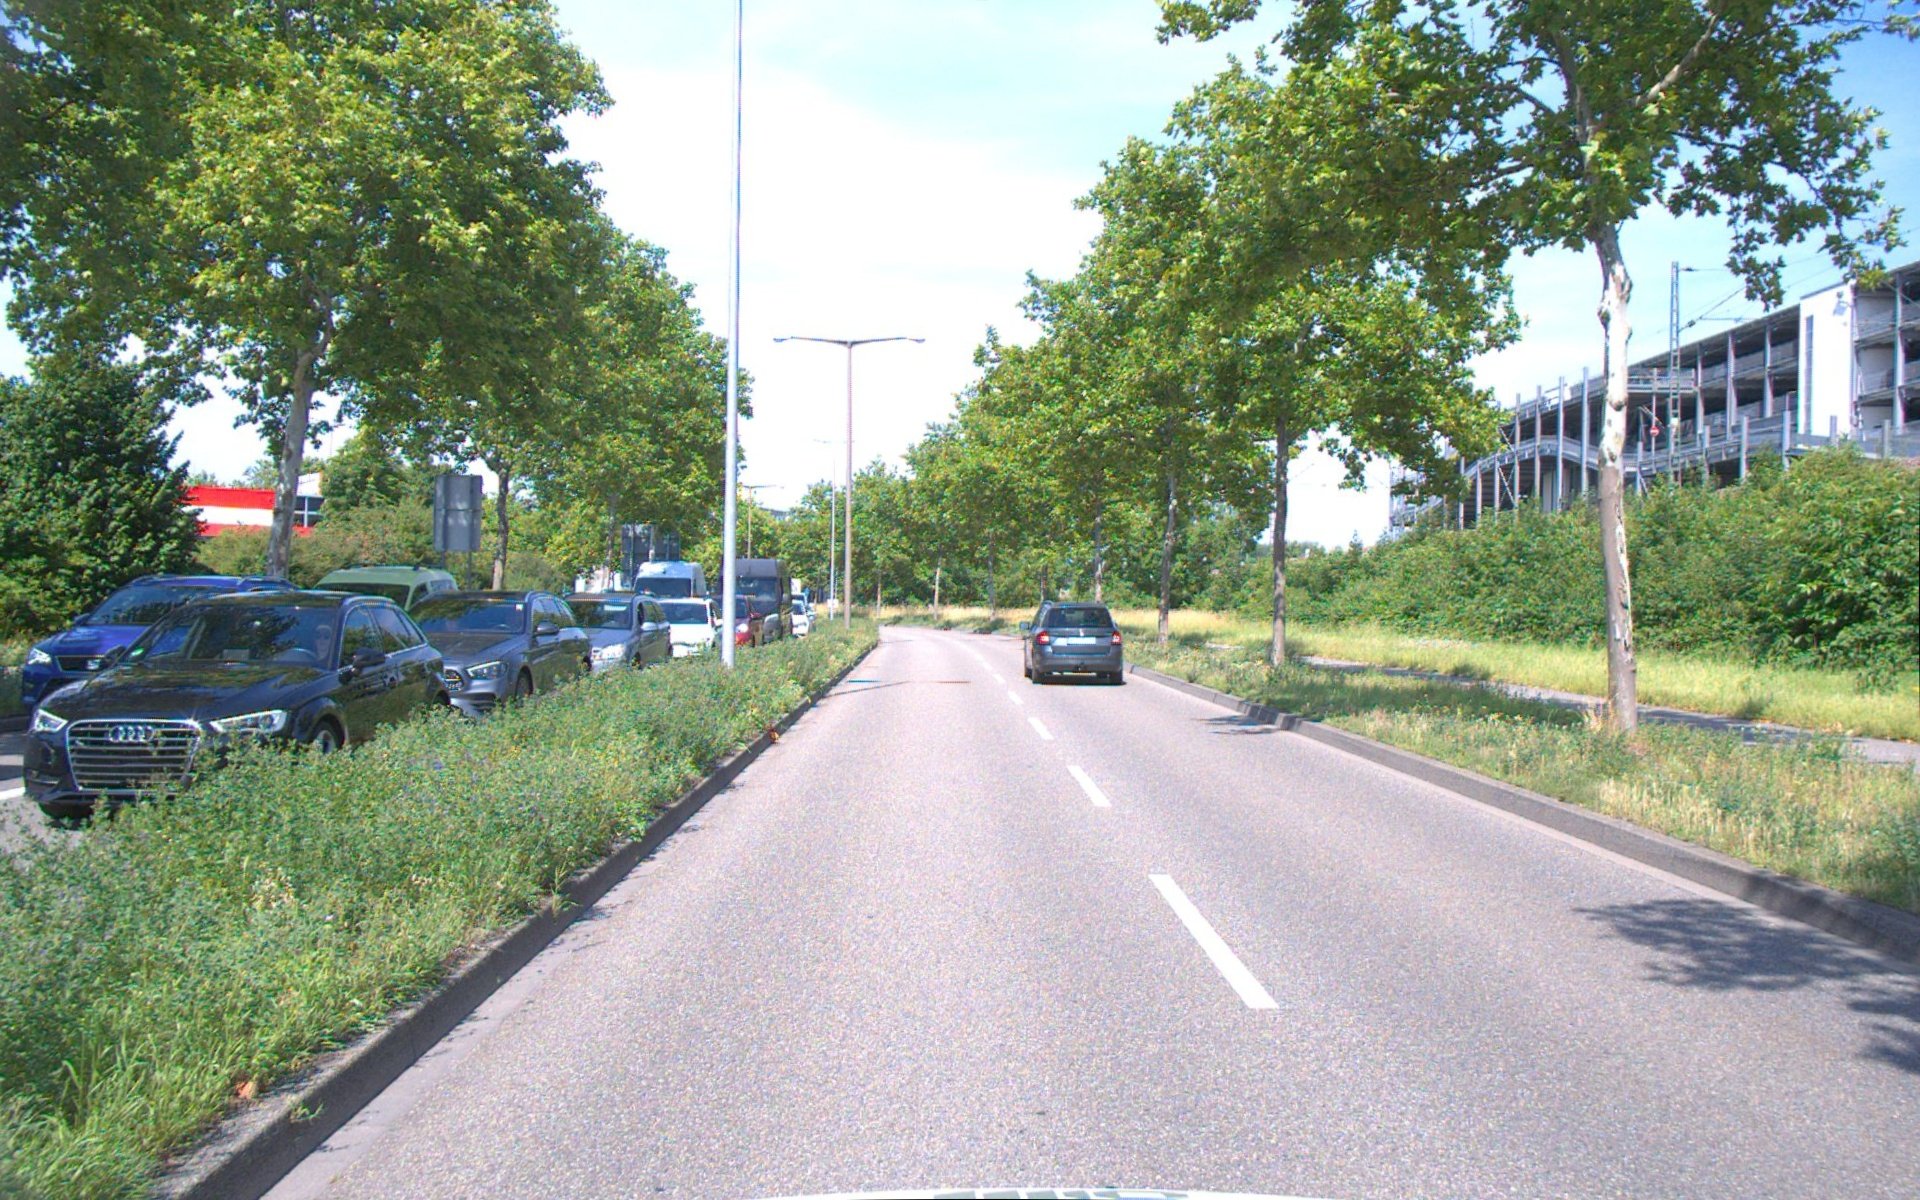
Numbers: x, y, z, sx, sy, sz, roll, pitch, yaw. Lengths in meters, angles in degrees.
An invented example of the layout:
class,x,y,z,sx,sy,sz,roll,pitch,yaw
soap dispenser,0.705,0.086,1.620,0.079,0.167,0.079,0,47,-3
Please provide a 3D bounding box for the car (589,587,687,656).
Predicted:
class,x,y,z,sx,sy,sz,roll,pitch,yaw
car,-8.640,0.560,44.690,1.953,1.786,3.999,0,0,-1

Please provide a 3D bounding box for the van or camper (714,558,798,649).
class,x,y,z,sx,sy,sz,roll,pitch,yaw
van or camper,-5.667,0.120,46.550,1.899,2.410,5.395,0,-1,-3

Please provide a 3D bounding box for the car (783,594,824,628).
class,x,y,z,sx,sy,sz,roll,pitch,yaw
car,-7.360,0.520,78.012,1.654,1.557,3.814,0,0,-1

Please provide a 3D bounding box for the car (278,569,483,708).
class,x,y,z,sx,sy,sz,roll,pitch,yaw
car,-8.473,0.539,24.547,1.654,1.891,4.035,0,0,-1

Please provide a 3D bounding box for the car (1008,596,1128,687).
class,x,y,z,sx,sy,sz,roll,pitch,yaw
car,1.934,0.715,30.813,1.641,1.478,4.033,3,0,-4

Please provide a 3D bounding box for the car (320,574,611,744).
class,x,y,z,sx,sy,sz,roll,pitch,yaw
car,-5.301,0.562,18.473,1.809,1.635,5.007,0,0,-1

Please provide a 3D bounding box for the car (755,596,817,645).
class,x,y,z,sx,sy,sz,roll,pitch,yaw
car,-5.647,0.672,54.043,1.654,1.557,3.813,0,-1,-1

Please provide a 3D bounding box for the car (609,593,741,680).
class,x,y,z,sx,sy,sz,roll,pitch,yaw
car,-5.250,0.625,30.981,1.747,1.484,4.471,1,0,-1

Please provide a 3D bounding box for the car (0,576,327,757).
class,x,y,z,sx,sy,sz,roll,pitch,yaw
car,-8.259,0.604,17.325,1.654,1.660,4.310,0,0,-1

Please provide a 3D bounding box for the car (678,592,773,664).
class,x,y,z,sx,sy,sz,roll,pitch,yaw
car,-5.244,0.600,37.396,1.654,1.537,3.814,0,0,-1

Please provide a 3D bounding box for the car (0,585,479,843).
class,x,y,z,sx,sy,sz,roll,pitch,yaw
car,-4.920,0.654,11.837,1.787,1.491,4.448,0,0,-2

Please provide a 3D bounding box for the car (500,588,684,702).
class,x,y,z,sx,sy,sz,roll,pitch,yaw
car,-5.406,0.610,24.902,1.776,1.557,4.641,0,0,-1

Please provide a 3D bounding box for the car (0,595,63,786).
class,x,y,z,sx,sy,sz,roll,pitch,yaw
car,-8.225,0.700,11.430,1.697,1.477,4.428,0,0,-1

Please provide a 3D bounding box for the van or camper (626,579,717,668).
class,x,y,z,sx,sy,sz,roll,pitch,yaw
van or camper,-8.985,0.693,51.945,1.974,2.633,5.516,0,0,-1
